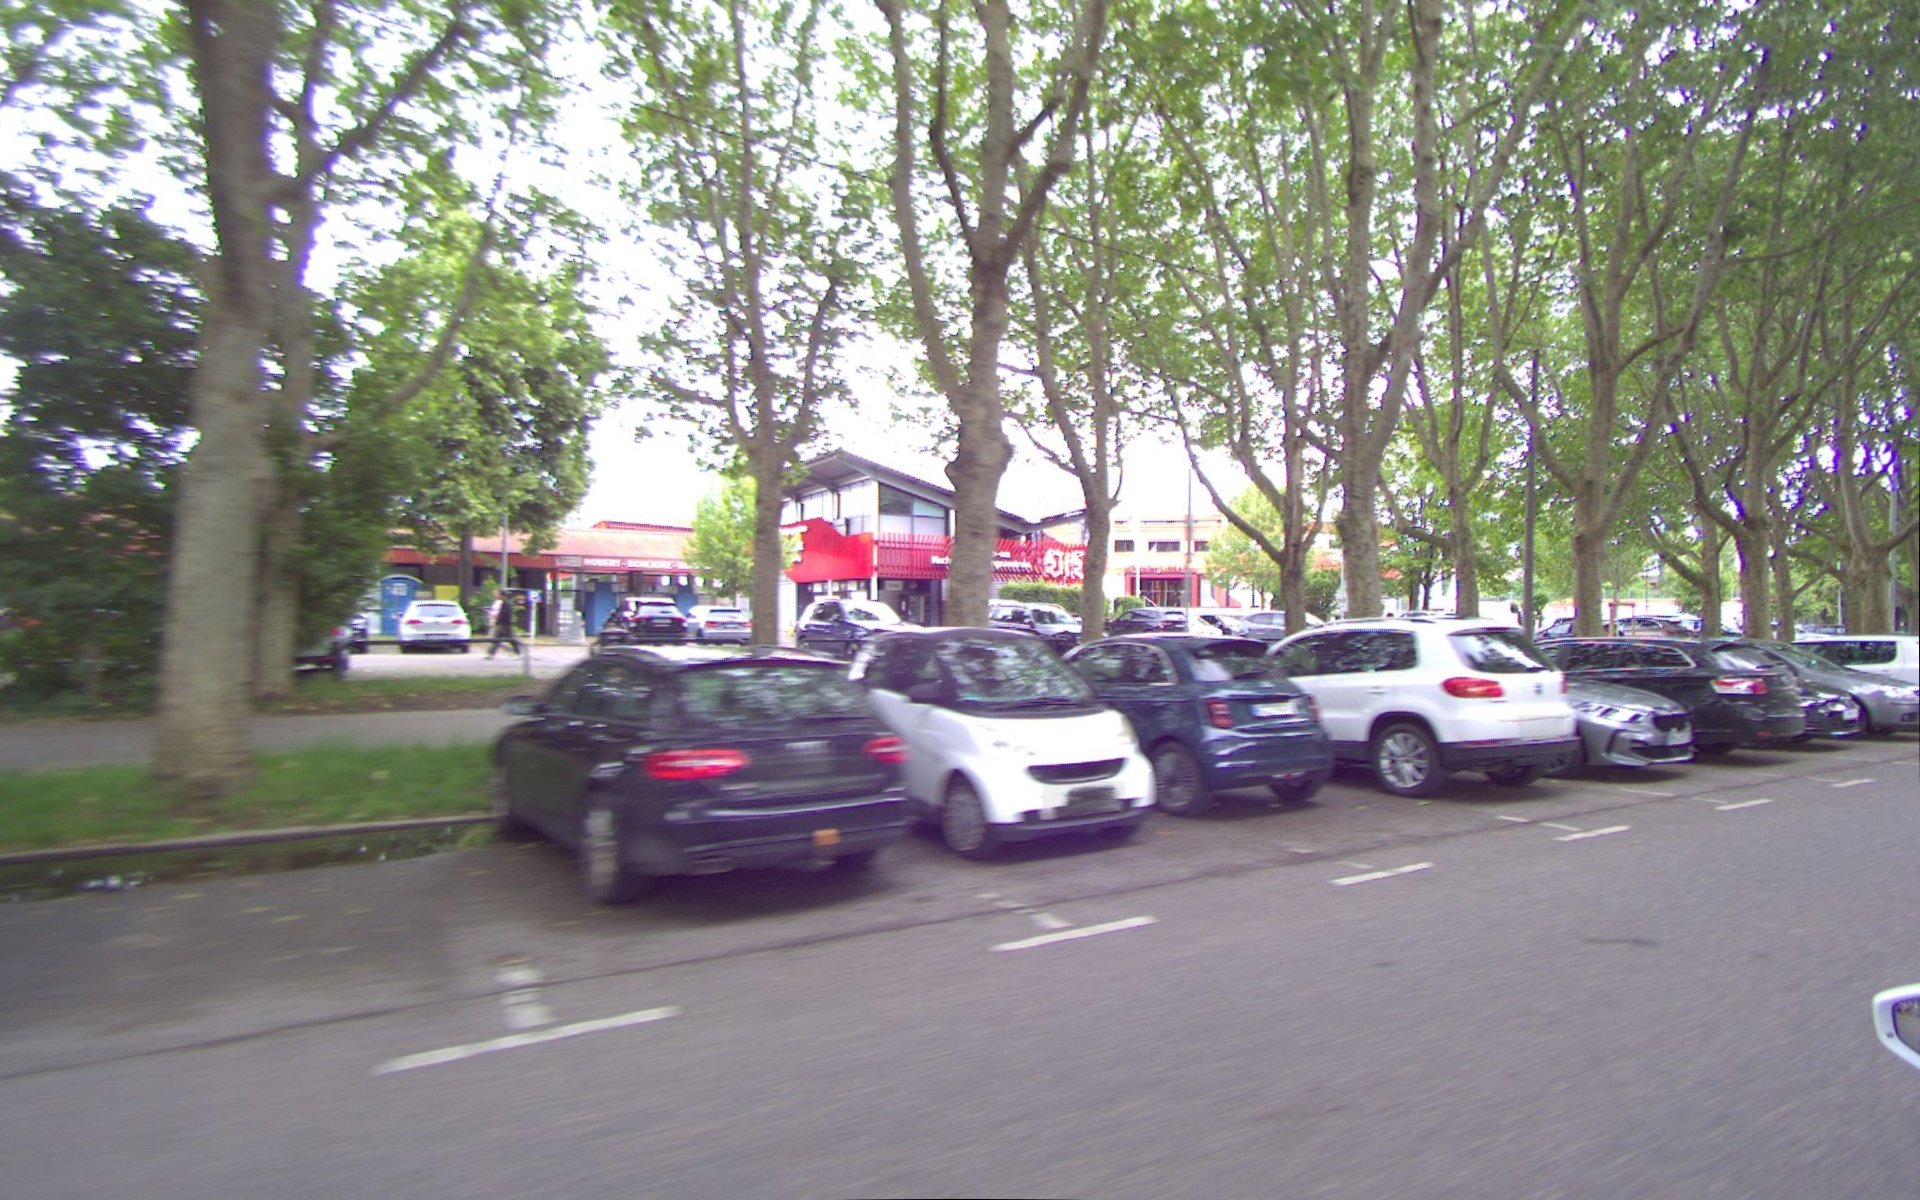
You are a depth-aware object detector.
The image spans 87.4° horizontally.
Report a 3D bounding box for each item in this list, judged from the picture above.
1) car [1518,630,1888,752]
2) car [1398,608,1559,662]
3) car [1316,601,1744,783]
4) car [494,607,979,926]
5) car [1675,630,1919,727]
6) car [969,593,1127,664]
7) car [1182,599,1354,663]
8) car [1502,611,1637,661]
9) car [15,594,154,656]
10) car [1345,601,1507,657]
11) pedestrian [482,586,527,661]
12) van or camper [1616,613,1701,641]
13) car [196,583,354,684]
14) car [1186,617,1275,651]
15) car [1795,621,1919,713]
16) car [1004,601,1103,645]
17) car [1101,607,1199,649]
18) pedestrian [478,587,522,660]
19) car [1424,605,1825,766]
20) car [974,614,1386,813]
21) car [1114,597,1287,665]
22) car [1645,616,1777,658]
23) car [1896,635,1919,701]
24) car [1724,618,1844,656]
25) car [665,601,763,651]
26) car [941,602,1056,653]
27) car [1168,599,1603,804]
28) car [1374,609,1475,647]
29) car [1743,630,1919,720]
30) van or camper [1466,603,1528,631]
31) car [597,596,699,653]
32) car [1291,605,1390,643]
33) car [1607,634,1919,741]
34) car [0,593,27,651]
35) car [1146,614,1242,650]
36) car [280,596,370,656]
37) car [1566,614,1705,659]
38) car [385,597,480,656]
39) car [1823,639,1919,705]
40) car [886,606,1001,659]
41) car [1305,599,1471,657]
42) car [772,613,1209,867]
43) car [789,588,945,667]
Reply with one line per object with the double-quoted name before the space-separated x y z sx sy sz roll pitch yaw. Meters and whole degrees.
"car" 10.656 1.210 14.711 1.823 1.387 3.966 2 -1 -31
"car" 19.155 1.241 37.317 2.159 1.821 4.914 1 -1 -32
"car" 6.385 0.897 11.727 1.833 1.704 3.969 2 0 -29
"car" -1.805 0.838 6.986 1.838 1.472 3.958 2 -1 -36
"car" 14.988 1.288 17.362 1.680 1.505 3.982 1 -2 -25
"car" 2.276 0.811 27.263 1.978 1.743 4.528 1 -3 -32
"car" 9.465 0.926 31.300 2.159 1.821 4.914 1 -1 -32
"car" 25.104 1.464 41.514 2.005 1.885 4.299 2 0 -31
"car" -21.931 0.583 25.338 1.878 1.415 3.968 1 0 -30
"car" 16.650 1.001 36.154 2.159 1.821 4.914 2 -1 -32
"pedestrian" -11.353 0.584 25.021 0.907 1.824 0.813 2 0 -30
"van or camper" 47.712 1.838 68.710 2.107 1.732 4.299 2 0 -31
"car" -12.642 0.549 18.862 2.071 1.617 5.321 2 -1 -31
"car" 12.305 1.520 45.874 1.489 1.390 3.965 2 0 -32
"car" 18.861 1.271 19.365 1.732 1.730 3.911 1 -2 -31
"car" 3.774 0.911 41.212 1.979 1.647 3.962 2 -1 -34
"car" 8.209 1.195 43.748 1.979 1.647 3.962 2 -1 -34
"pedestrian" -11.831 0.608 25.833 0.907 1.824 0.937 2 0 -30
"car" 8.406 0.968 13.098 1.833 1.704 3.969 2 0 -29
"car" 1.918 0.927 9.960 1.833 1.472 3.969 2 0 -29
"car" 7.058 0.874 30.002 2.159 1.821 4.914 2 -1 -32
"car" 35.520 1.723 47.613 2.270 1.785 4.495 2 0 -31
"car" 23.634 1.515 21.902 1.684 1.501 4.441 1 -2 -31
"car" 41.974 1.856 51.269 2.107 1.732 4.299 2 0 -31
"car" -8.479 0.852 34.341 1.980 1.571 3.994 2 -1 -34
"car" 1.464 1.057 39.955 2.159 1.821 4.914 2 -1 -32
"car" 4.237 0.884 10.659 1.833 1.704 3.969 2 0 -29
"car" 24.941 1.462 54.125 2.265 1.880 4.565 2 0 -25
"car" 16.793 1.310 18.068 1.709 1.536 3.911 1 -2 -31
"van or camper" 42.718 1.368 79.841 5.243 2.040 1.983 2 0 -32
"car" -9.861 0.750 31.599 1.980 1.648 3.962 2 -1 -34
"car" 19.903 1.228 52.703 2.265 1.880 4.565 2 0 -25
"car" 12.709 1.266 15.762 1.684 1.439 3.973 1 -2 -31
"car" -24.441 0.523 24.291 1.878 1.415 3.968 1 0 -30
"car" 10.375 1.393 44.810 1.978 1.446 3.965 2 -1 -32
"car" -17.533 0.666 27.892 1.915 1.530 3.968 1 0 -30
"car" 29.589 1.572 44.146 2.270 1.748 4.529 2 -1 -31
"car" -15.503 0.723 29.387 2.158 1.541 4.916 2 -1 -31
"car" 21.146 1.515 21.333 1.806 1.382 3.911 1 -2 -31
"car" -0.718 1.213 38.715 2.159 1.821 4.914 2 -1 -32
"car" 14.634 0.929 34.632 2.159 1.821 4.914 2 -1 -32
"car" -0.029 0.900 8.289 1.833 1.472 3.969 2 0 -29
"car" -2.370 0.706 24.506 1.978 1.743 4.528 1 -3 -32
